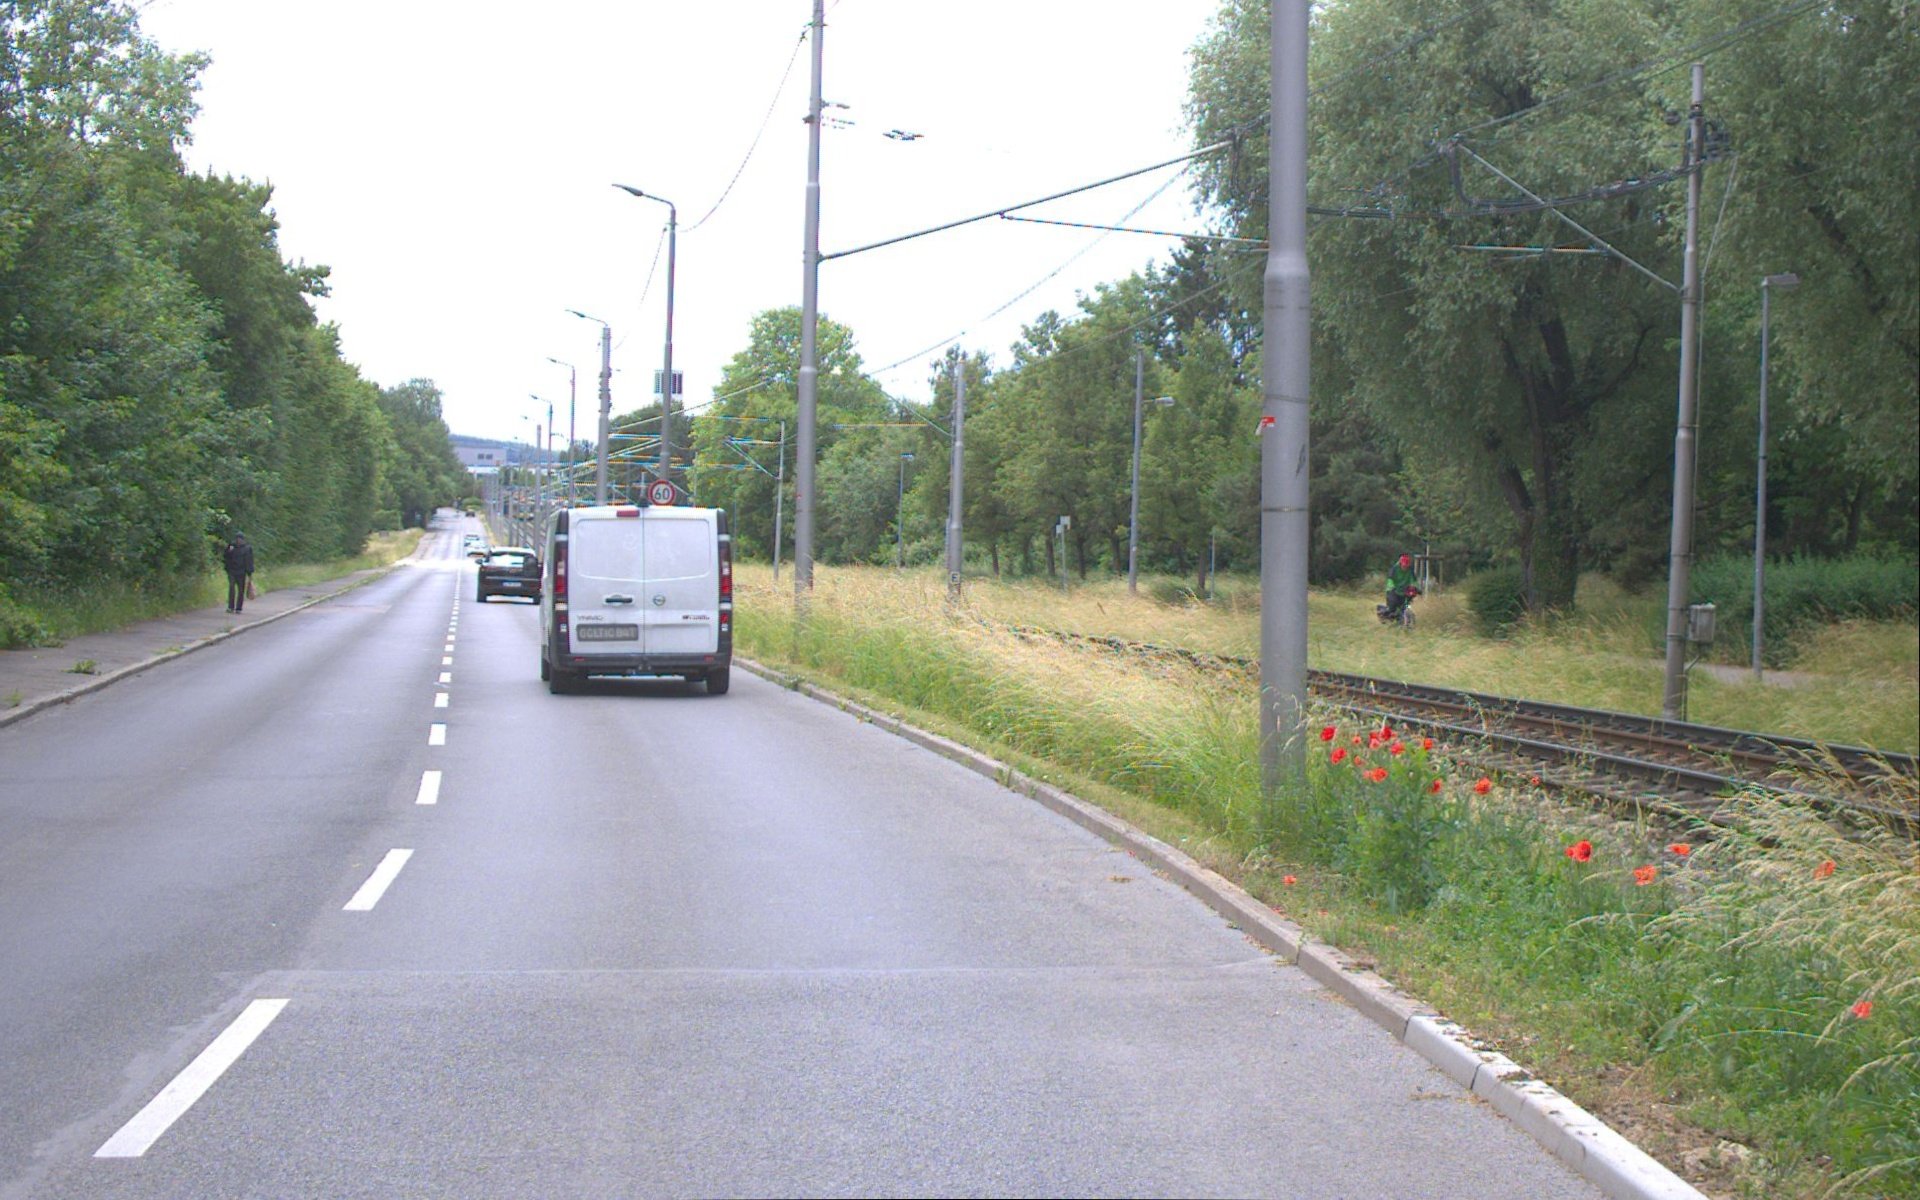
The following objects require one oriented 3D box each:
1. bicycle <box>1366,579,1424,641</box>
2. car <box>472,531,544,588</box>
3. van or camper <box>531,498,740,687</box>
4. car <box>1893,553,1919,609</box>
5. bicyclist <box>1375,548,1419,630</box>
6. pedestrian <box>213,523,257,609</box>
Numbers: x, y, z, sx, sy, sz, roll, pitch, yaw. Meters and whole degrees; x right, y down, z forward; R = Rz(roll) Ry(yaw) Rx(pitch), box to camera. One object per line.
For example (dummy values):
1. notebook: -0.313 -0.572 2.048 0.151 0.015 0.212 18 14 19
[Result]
1. bicycle: 9.143 0.199 72.283 0.580 1.242 1.930 1 1 -12
2. car: -13.191 -1.198 100.083 1.993 1.587 4.001 1 1 -8
3. van or camper: -3.525 -0.101 36.694 1.941 1.890 4.286 0 1 -9
4. car: 32.610 -0.550 111.848 1.993 1.806 4.000 1 1 -33
5. bicyclist: 9.174 -0.233 72.188 0.580 1.690 0.936 2 1 -12
6. pedestrian: -15.232 -0.717 72.251 0.867 1.763 0.790 -1 2 -11
